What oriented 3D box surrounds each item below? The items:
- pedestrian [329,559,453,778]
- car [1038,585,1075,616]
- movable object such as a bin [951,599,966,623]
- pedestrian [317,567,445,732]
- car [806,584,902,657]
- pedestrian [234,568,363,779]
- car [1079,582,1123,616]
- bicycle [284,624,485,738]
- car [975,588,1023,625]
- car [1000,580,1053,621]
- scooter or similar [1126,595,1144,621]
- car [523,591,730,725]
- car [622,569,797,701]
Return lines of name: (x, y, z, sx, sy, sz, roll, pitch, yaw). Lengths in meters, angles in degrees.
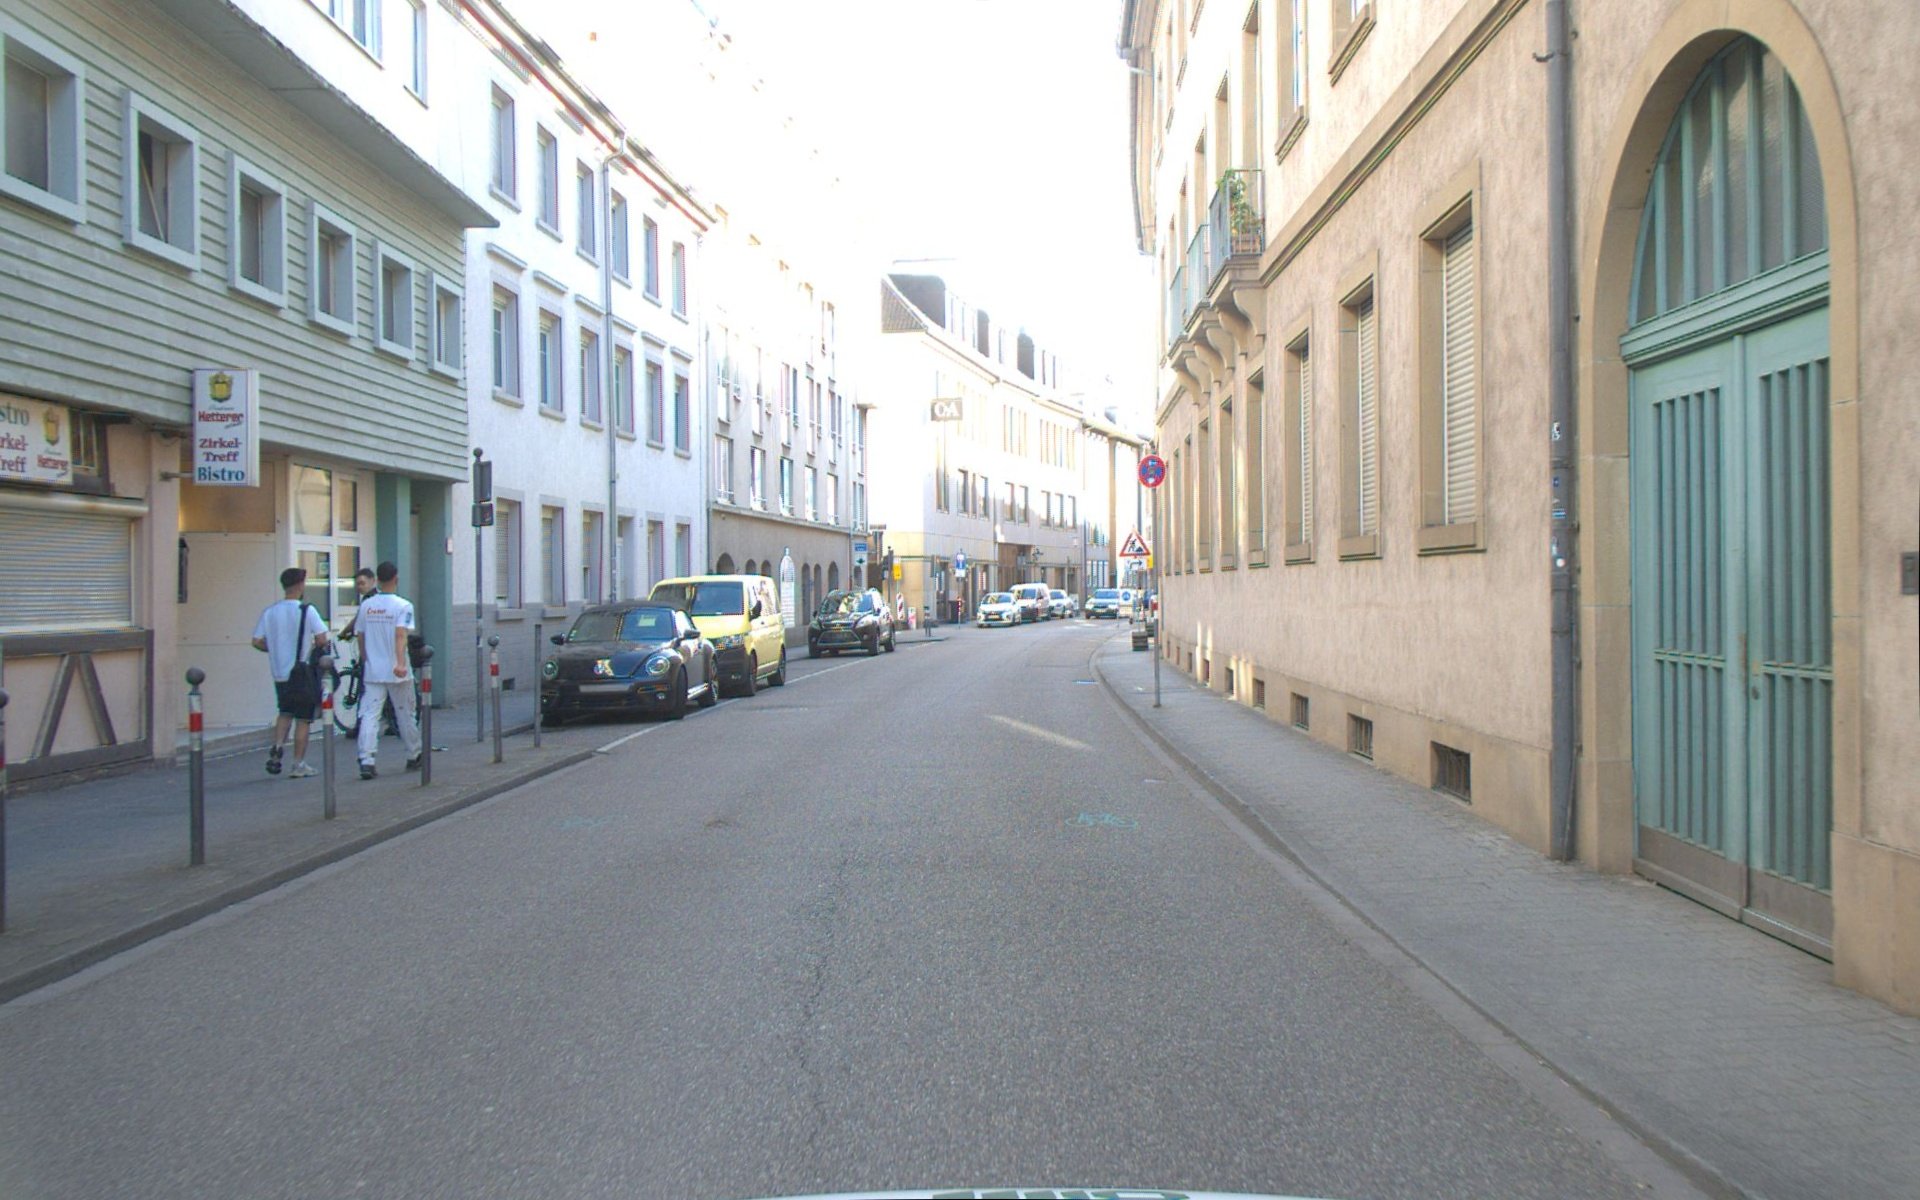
pedestrian: (-4.766, 0.559, 13.910, 0.683, 1.764, 0.829, -2, 0, 1)
car: (5.020, 0.018, 85.871, 1.244, 1.533, 3.404, -2, 0, 14)
movable object such as a bin: (-0.060, 0.489, 75.576, 0.596, 1.079, 0.714, 2, 0, 5)
pedestrian: (-6.379, 0.526, 18.234, 1.056, 1.759, 0.802, -1, 0, 24)
car: (-2.749, 0.497, 43.756, 1.703, 1.740, 4.194, -3, 0, 7)
pedestrian: (-5.539, 0.596, 13.887, 0.659, 1.699, 0.895, -2, 0, 1)
car: (7.082, -0.056, 83.300, 1.680, 1.605, 4.189, -1, 0, -2)
bicycle: (-6.345, 0.873, 18.221, 2.085, 1.183, 0.823, -1, 0, 24)
car: (1.773, 0.271, 74.151, 1.635, 1.533, 3.797, -2, 0, 8)
car: (3.239, 0.009, 79.870, 1.635, 1.850, 4.556, -2, 0, 13)
scooter or similar: (7.886, 0.367, 74.457, 0.754, 1.156, 0.269, 2, 0, 11)
car: (-4.292, 0.684, 21.893, 1.782, 1.512, 4.077, -3, 0, 1)
car: (-4.030, 0.510, 27.457, 1.841, 1.899, 4.866, -3, 0, 3)
